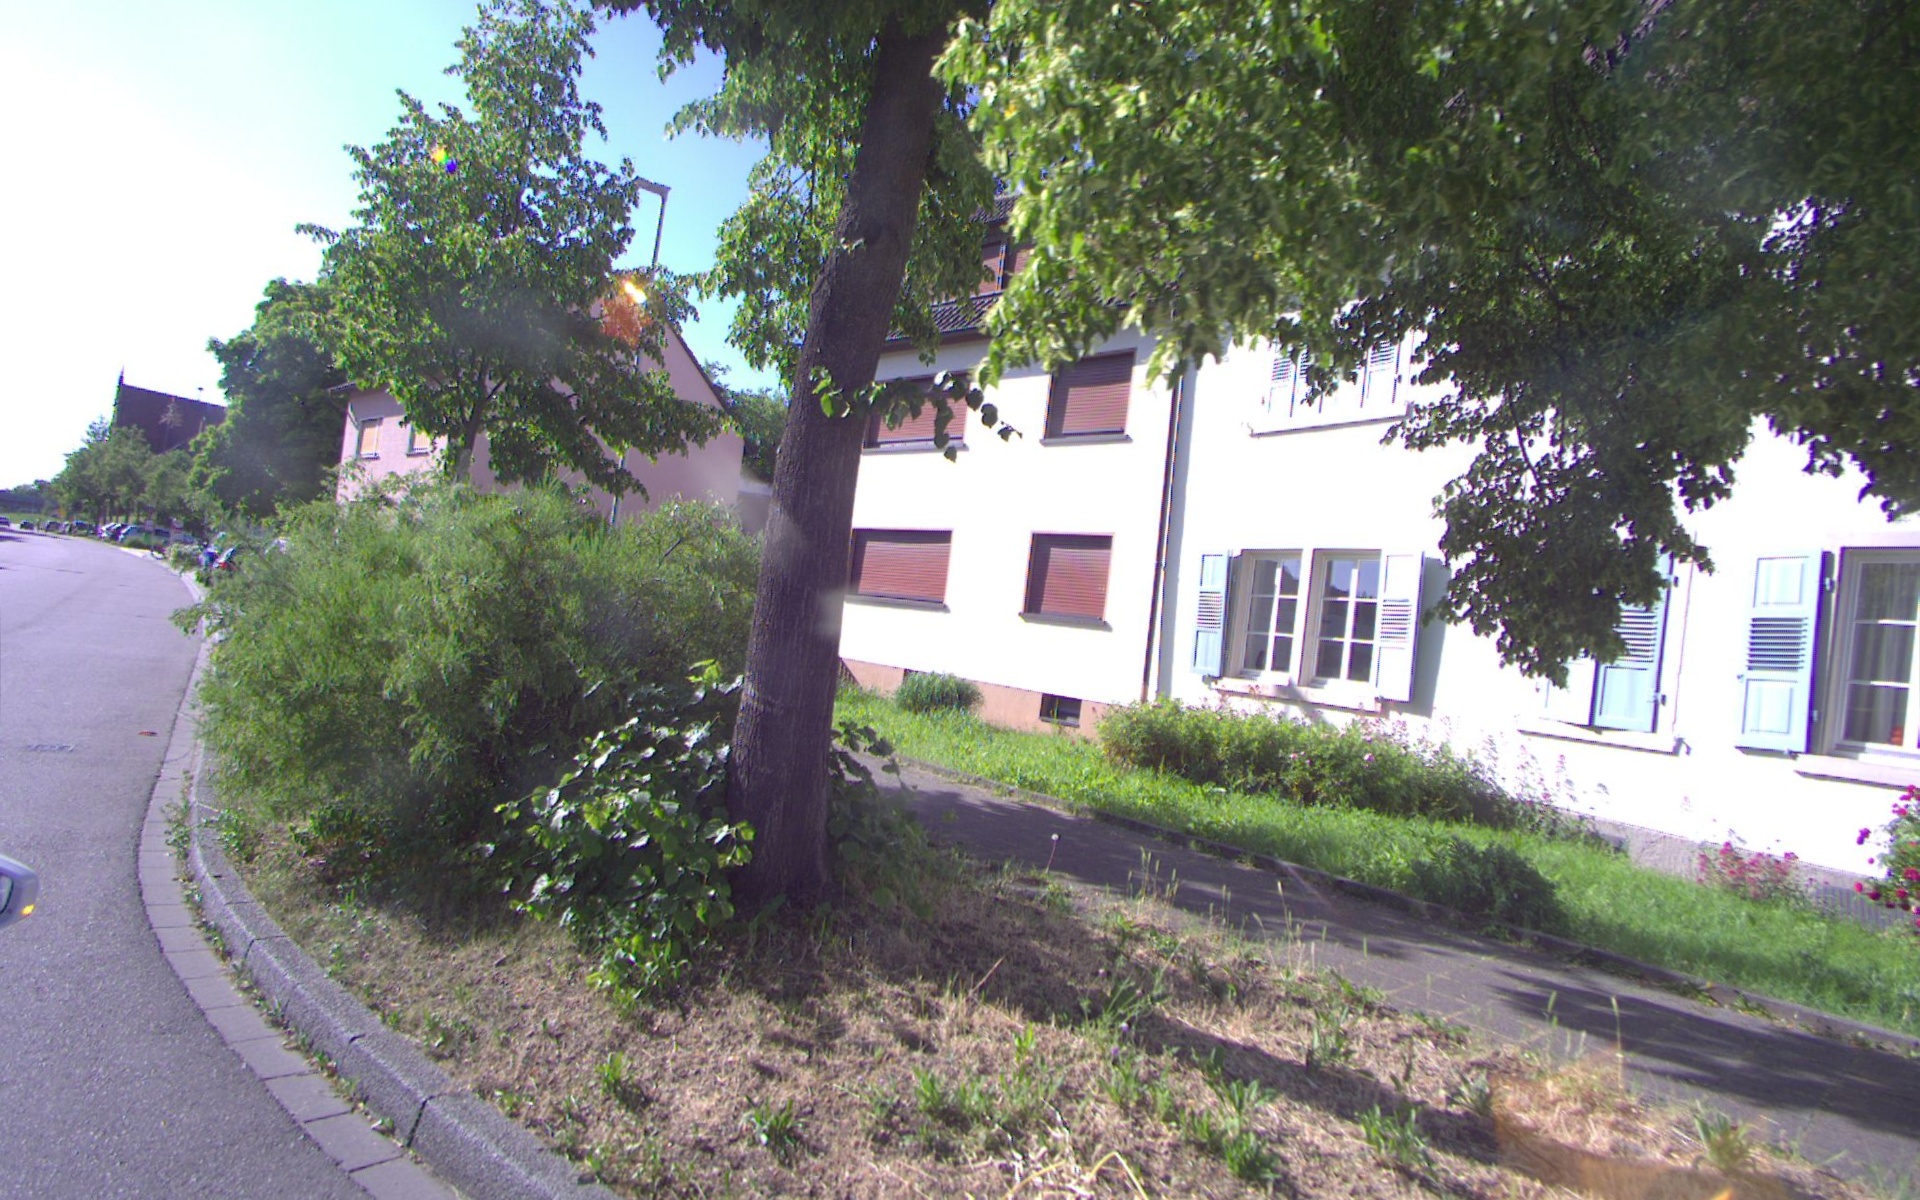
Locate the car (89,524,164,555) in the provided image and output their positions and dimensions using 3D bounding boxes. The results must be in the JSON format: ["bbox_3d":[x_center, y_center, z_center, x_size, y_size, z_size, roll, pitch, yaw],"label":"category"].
[{"bbox_3d":[-63.623,-4.594,76.835,1.886,1.581,3.991,6,-4,38],"label":"car"}]

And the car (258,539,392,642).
[{"bbox_3d":[-13.144,-0.240,20.714,1.899,1.694,3.962,9,-3,-36],"label":"car"}]

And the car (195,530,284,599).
[{"bbox_3d":[-21.938,-1.089,30.651,1.899,1.694,3.962,9,-3,-36],"label":"car"}]

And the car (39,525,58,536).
[{"bbox_3d":[-145.457,-11.109,160.534,3.949,1.490,1.906,5,-4,45],"label":"car"}]

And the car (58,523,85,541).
[{"bbox_3d":[-98.434,-7.570,111.422,3.949,1.581,1.906,5,-4,45],"label":"car"}]

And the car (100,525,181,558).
[{"bbox_3d":[-57.808,-4.102,70.972,1.886,1.581,3.991,6,-4,38],"label":"car"}]

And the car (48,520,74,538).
[{"bbox_3d":[-107.552,-8.490,120.340,3.949,1.840,1.906,5,-4,45],"label":"car"}]

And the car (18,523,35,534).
[{"bbox_3d":[-164.971,-12.610,177.859,3.949,1.490,1.906,5,-4,45],"label":"car"}]

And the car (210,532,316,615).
[{"bbox_3d":[-17.829,-0.704,25.717,1.899,1.694,3.962,9,-3,-36],"label":"car"}]

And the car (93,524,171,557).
[{"bbox_3d":[-60.986,-4.372,74.157,1.886,1.581,3.991,6,-4,38],"label":"car"}]

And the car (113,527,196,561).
[{"bbox_3d":[-55.090,-3.831,68.889,1.886,1.581,3.991,6,-4,38],"label":"car"}]

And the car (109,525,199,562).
[{"bbox_3d":[-50.991,-3.550,63.691,1.886,1.581,3.991,6,-4,38],"label":"car"}]
